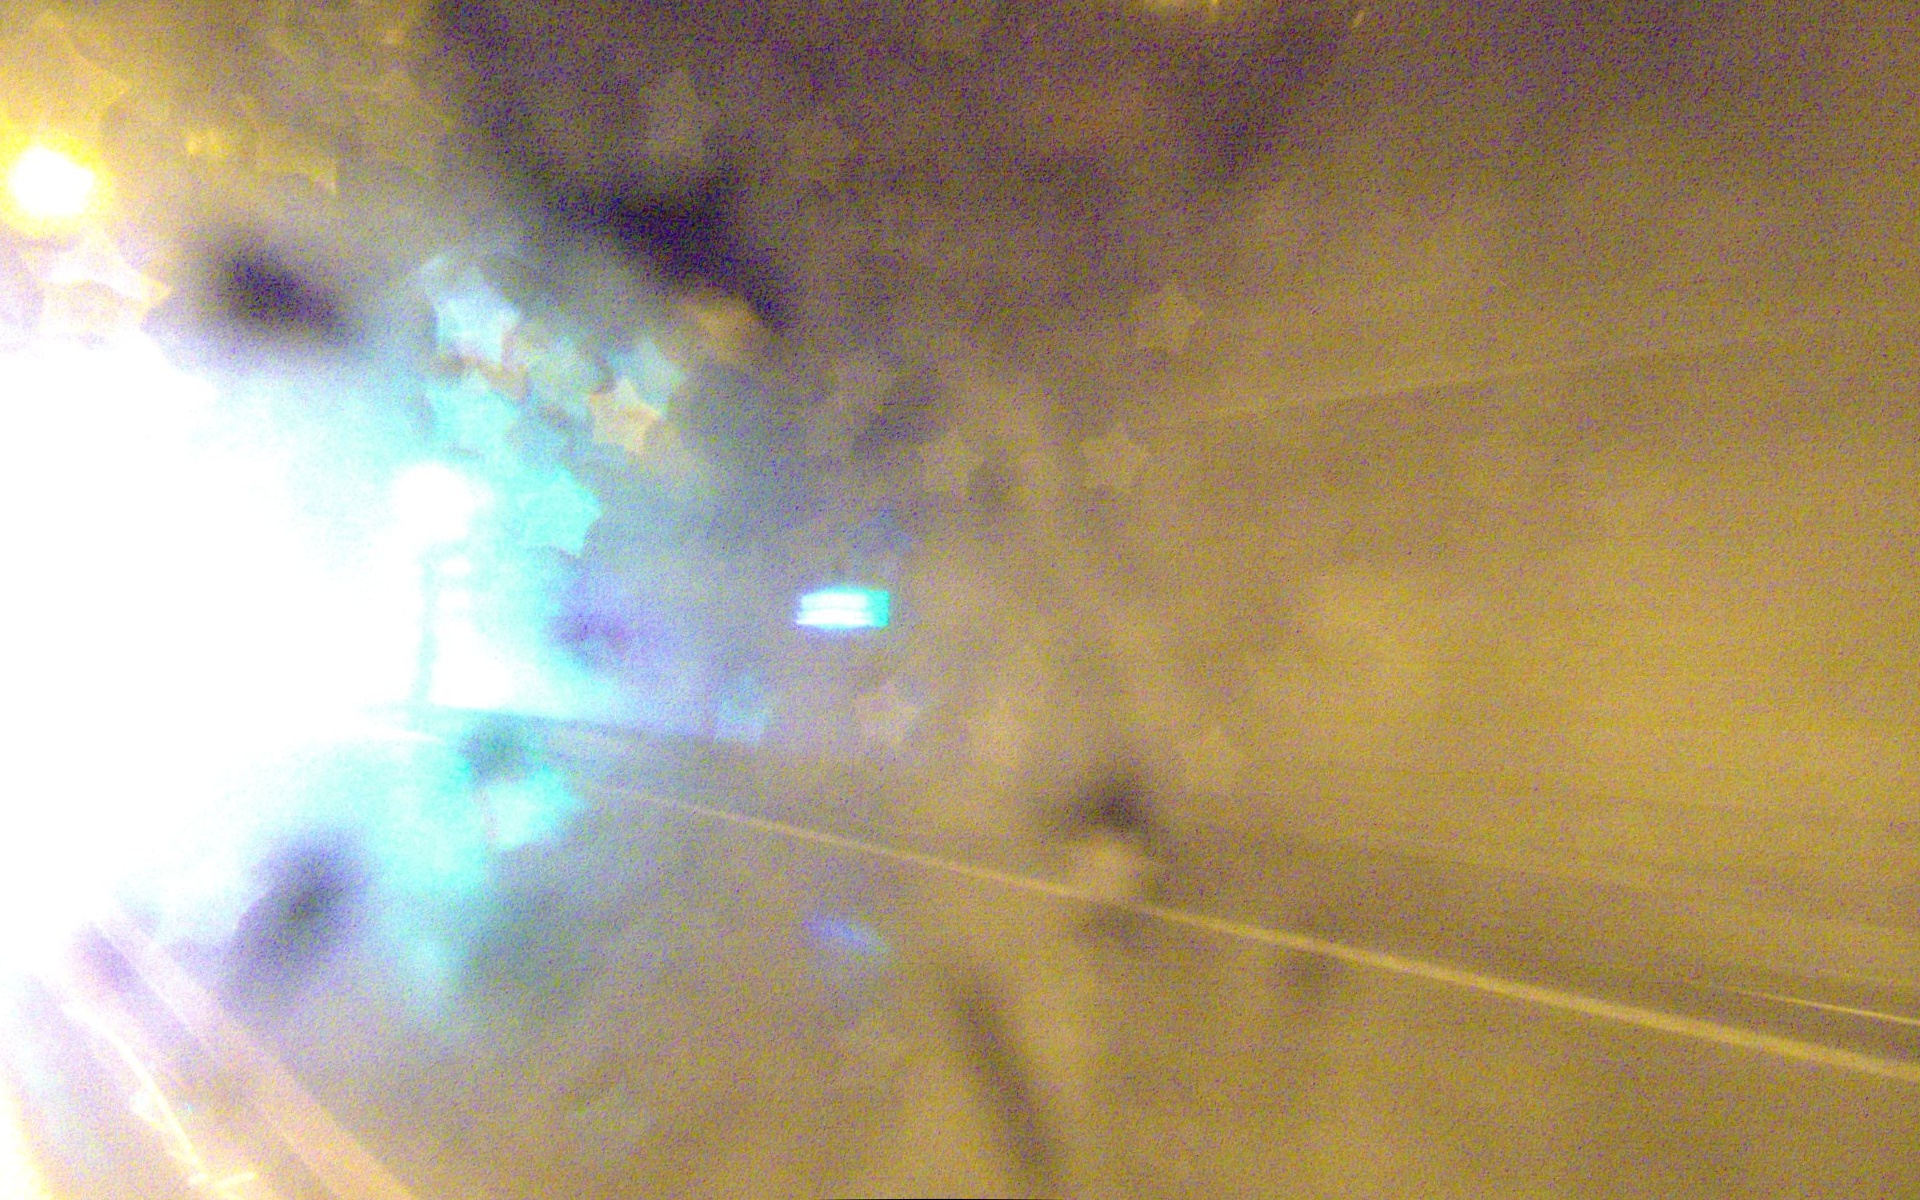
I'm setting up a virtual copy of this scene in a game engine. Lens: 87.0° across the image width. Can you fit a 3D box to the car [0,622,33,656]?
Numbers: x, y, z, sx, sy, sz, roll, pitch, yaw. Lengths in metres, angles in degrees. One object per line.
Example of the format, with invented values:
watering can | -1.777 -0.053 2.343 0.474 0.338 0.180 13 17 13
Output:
car | -48.665 1.990 51.945 1.611 1.662 3.779 0 -1 -43
